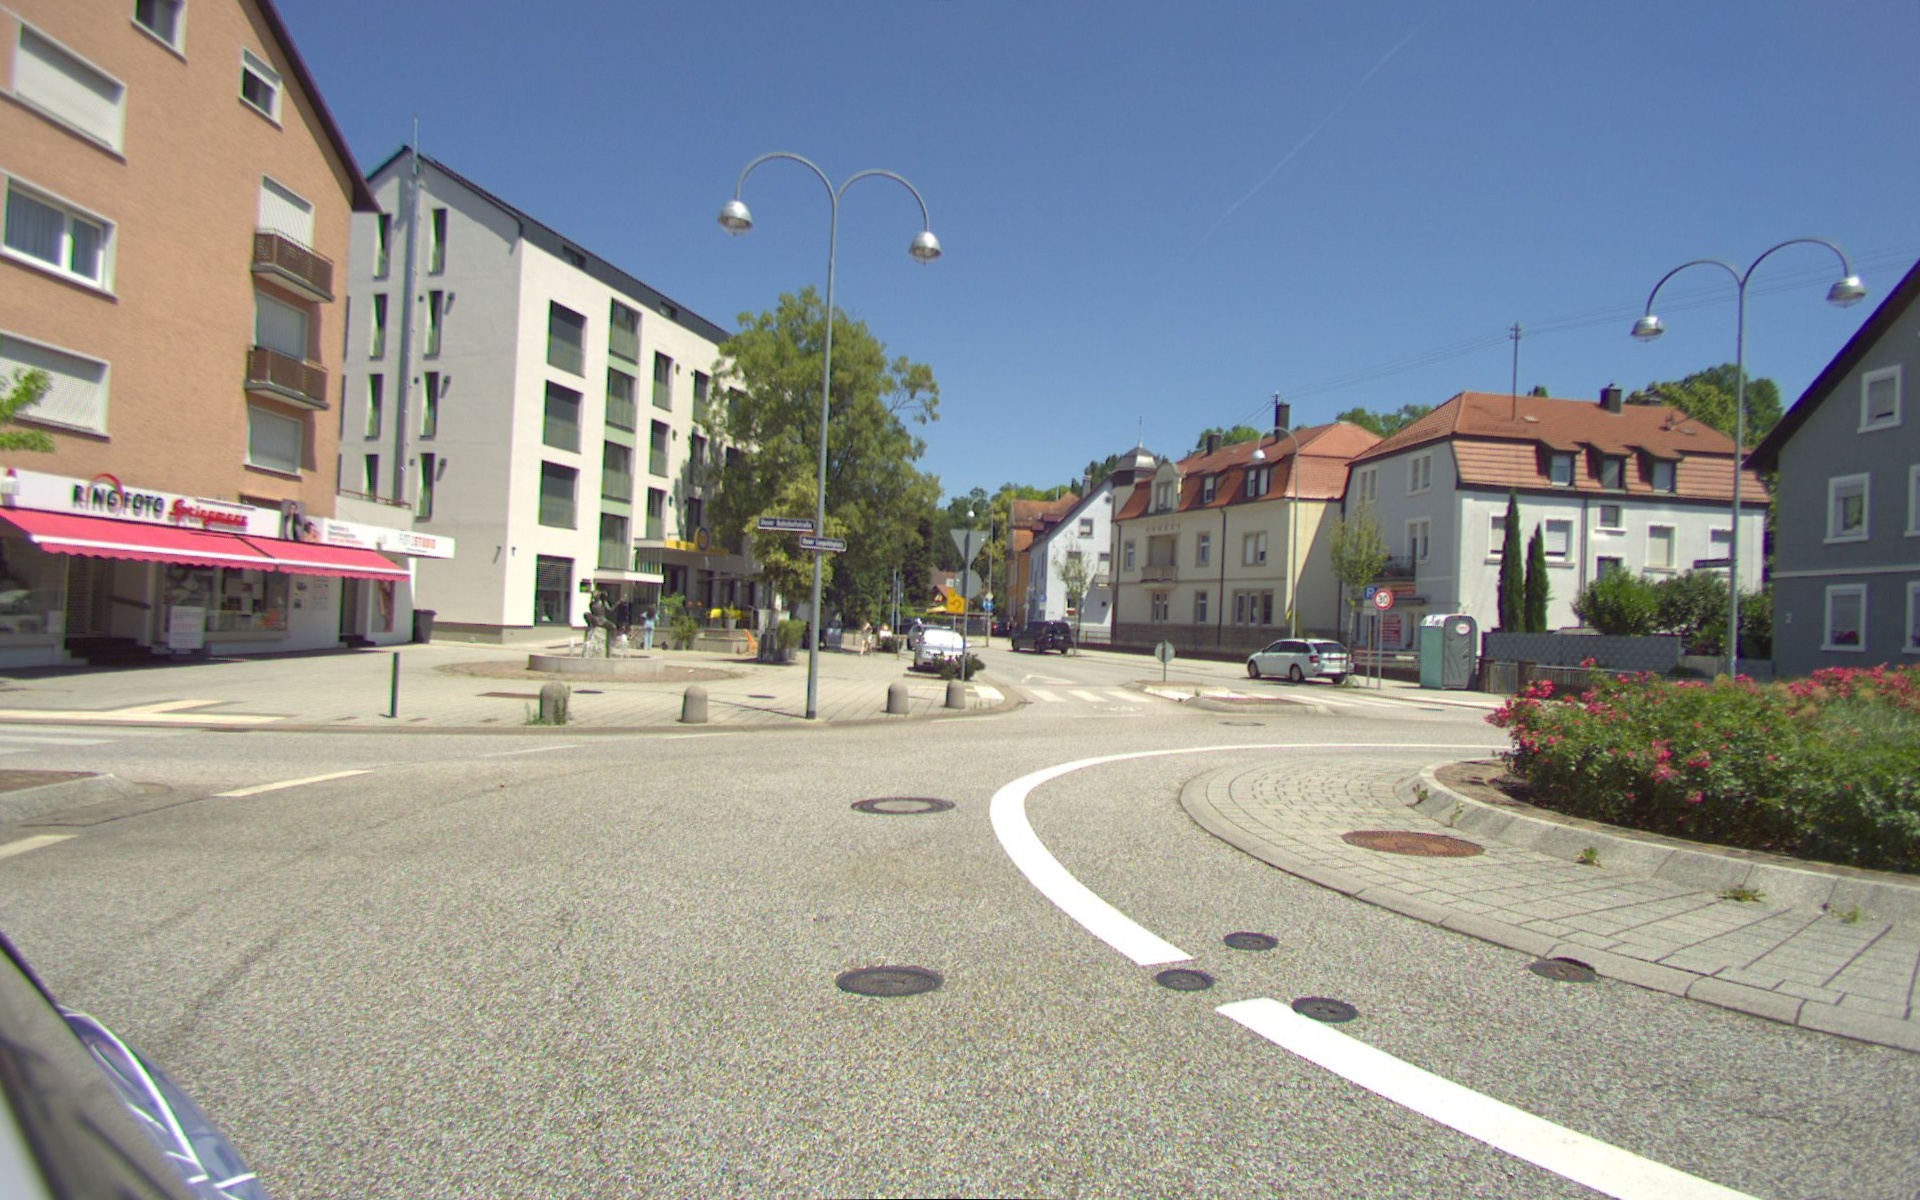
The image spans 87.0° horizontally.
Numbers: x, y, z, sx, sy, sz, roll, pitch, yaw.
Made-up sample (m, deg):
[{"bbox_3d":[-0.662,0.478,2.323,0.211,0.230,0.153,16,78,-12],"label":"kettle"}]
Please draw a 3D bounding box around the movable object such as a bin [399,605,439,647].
[{"bbox_3d":[-16.786,0.799,31.414,0.737,1.262,0.836,1,-2,3],"label":"movable object such as a bin"}]

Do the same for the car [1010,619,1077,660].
[{"bbox_3d":[4.617,2.180,56.740,1.965,2.029,4.014,2,0,-24],"label":"car"}]

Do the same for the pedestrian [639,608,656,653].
[{"bbox_3d":[-11.534,1.132,37.390,0.444,1.631,0.451,2,-2,-1],"label":"pedestrian"}]

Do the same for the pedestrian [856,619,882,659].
[{"bbox_3d":[-3.797,1.625,42.368,0.938,1.661,0.818,1,-2,3],"label":"pedestrian"}]

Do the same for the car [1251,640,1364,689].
[{"bbox_3d":[11.662,2.129,34.275,1.582,1.402,4.090,-1,-1,-15],"label":"car"}]

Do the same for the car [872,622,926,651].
[{"bbox_3d":[-4.697,2.819,78.304,3.946,2.029,1.999,2,-2,2],"label":"car"}]

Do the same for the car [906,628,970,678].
[{"bbox_3d":[-0.797,1.724,33.952,1.769,1.536,4.005,2,-2,-6],"label":"car"}]

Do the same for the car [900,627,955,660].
[{"bbox_3d":[-1.846,2.402,56.149,1.966,1.668,4.216,2,-1,-17],"label":"car"}]
